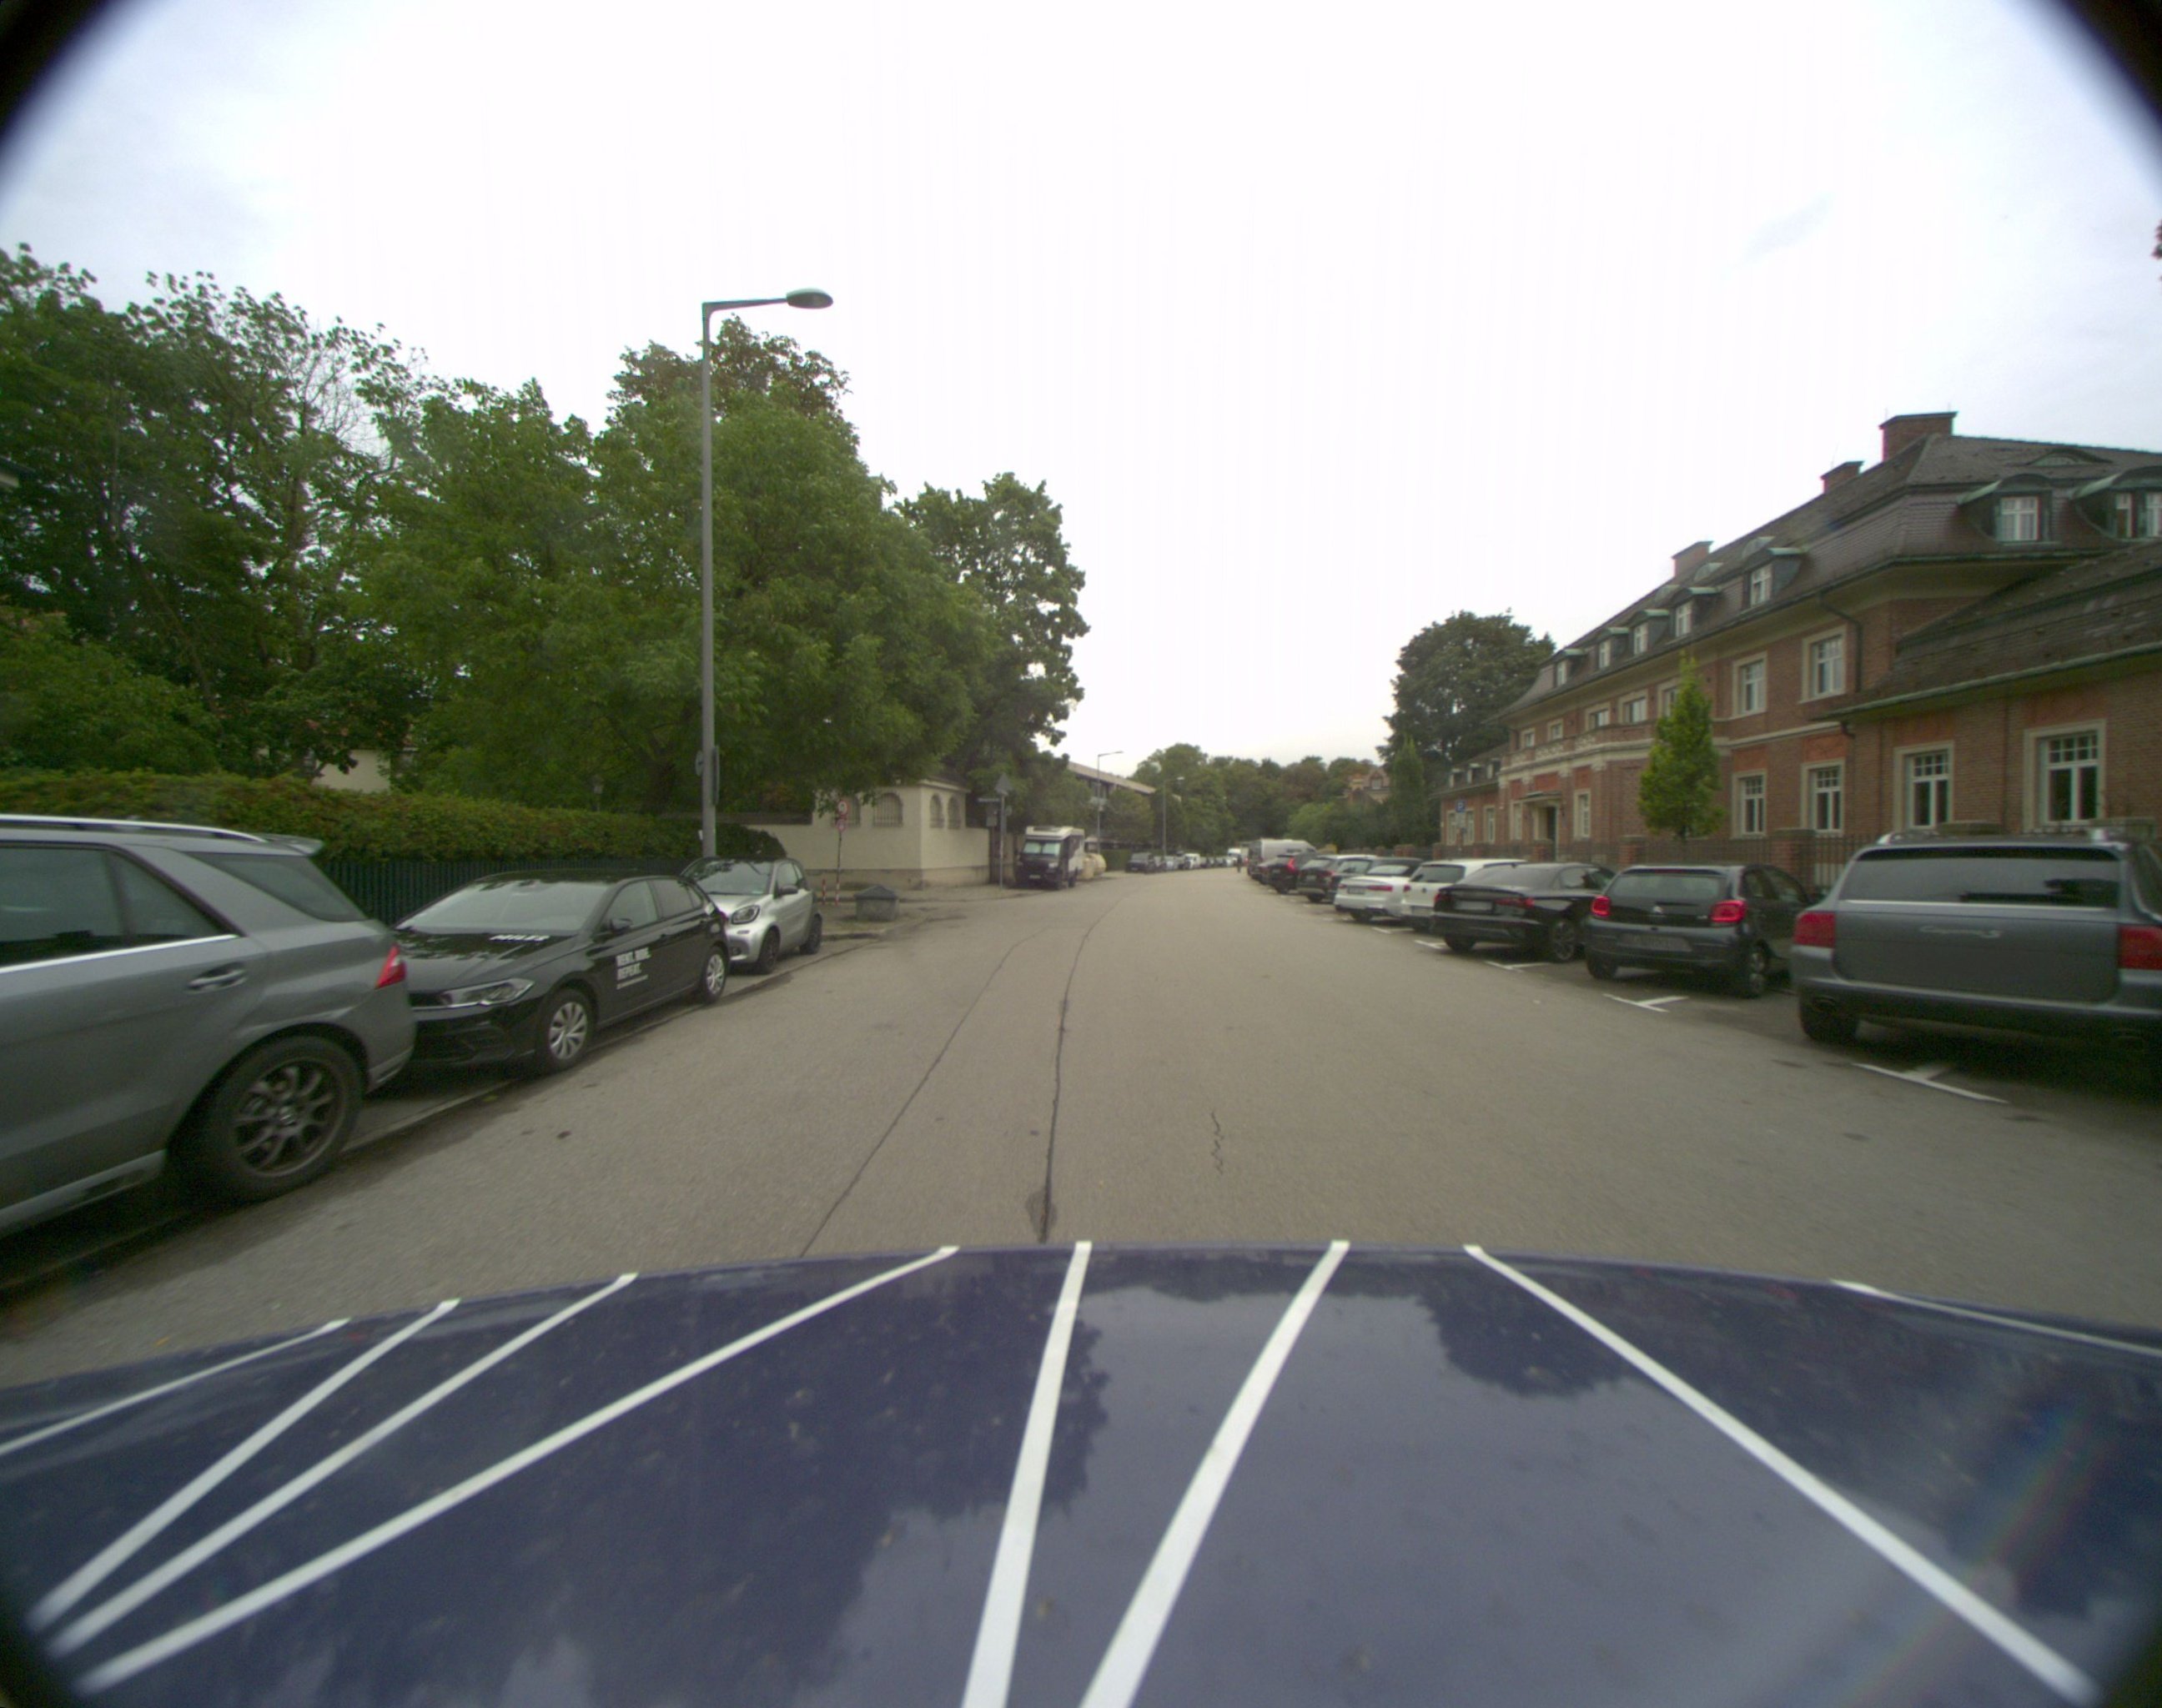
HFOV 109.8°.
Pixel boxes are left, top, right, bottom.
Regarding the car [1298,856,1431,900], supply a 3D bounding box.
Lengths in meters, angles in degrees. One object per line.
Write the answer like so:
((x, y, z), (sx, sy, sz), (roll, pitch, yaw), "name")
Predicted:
((10.338, 0.875, 27.710), (4.334, 1.463, 1.817), (2, 0, -18), "car")

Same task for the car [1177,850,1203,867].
((12.598, 0.490, 87.442), (1.824, 1.849, 4.906), (-1, -1, 22), "car")

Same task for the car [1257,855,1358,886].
((11.088, 0.813, 37.257), (4.531, 1.442, 1.817), (1, 1, -20), "car")

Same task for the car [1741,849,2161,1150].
((7.575, 0.816, 6.164), (4.420, 1.689, 2.131), (0, 1, -32), "car")

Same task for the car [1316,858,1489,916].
((8.751, 0.845, 20.660), (4.400, 1.442, 1.654), (0, 0, -21), "car")

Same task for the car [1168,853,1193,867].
((10.857, 0.671, 82.585), (1.749, 1.471, 4.605), (-1, 0, 20), "car")

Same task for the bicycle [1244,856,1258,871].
((15.119, 0.846, 67.550), (0.707, 1.298, 2.122), (0, 0, 28), "bicycle")

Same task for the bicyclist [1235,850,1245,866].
((14.208, 0.353, 67.899), (0.697, 1.344, 0.932), (0, 1, 27), "bicyclist")

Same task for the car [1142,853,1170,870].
((7.255, 0.698, 72.879), (1.750, 1.530, 4.576), (0, 0, 18), "car")

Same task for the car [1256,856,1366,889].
((10.488, 0.830, 34.653), (4.531, 1.410, 1.924), (1, 0, -20), "car")

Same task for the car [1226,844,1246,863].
((23.429, -0.046, 115.021), (2.081, 2.671, 6.097), (2, 0, 19), "car")

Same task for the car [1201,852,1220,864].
((16.712, 0.541, 97.900), (1.728, 1.520, 4.211), (2, 0, 20), "car")

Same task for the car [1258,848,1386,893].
((9.519, 0.649, 30.097), (4.531, 1.655, 1.984), (1, 1, -20), "car")

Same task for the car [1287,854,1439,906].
((9.164, 0.781, 24.713), (4.532, 1.558, 1.886), (0, 1, -22), "car")

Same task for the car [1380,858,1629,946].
((8.403, 0.919, 15.056), (4.523, 1.501, 1.928), (2, 0, -24), "car")

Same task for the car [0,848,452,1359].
((-4.650, 0.854, 2.037), (1.999, 1.701, 4.883), (1, 0, -2), "car")

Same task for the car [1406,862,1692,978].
((7.384, 0.889, 11.919), (4.419, 1.431, 1.961), (0, 1, -30), "car")

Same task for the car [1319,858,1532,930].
((7.893, 0.835, 17.389), (4.522, 1.442, 1.893), (0, 1, -24), "car")

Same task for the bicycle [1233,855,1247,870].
((14.227, 0.745, 68.013), (0.707, 1.298, 2.122), (0, 0, 27), "bicycle")

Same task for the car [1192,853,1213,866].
((14.884, 0.656, 92.874), (1.749, 1.455, 4.249), (1, 0, 20), "car")

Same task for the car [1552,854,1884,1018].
((8.194, 0.833, 9.689), (4.420, 1.620, 1.960), (0, 1, -32), "car")

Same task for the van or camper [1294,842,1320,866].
((29.171, -0.063, 97.997), (2.457, 2.924, 7.223), (2, 1, 22), "van or camper")

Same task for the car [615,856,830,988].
((-4.896, 0.850, 10.820), (1.744, 1.527, 2.945), (1, 1, -2), "car")

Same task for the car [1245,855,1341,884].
((11.161, 0.807, 40.108), (4.530, 1.442, 1.974), (1, 0, -17), "car")

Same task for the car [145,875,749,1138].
((-4.724, 0.987, 6.682), (1.882, 1.419, 4.221), (1, 0, -2), "car")

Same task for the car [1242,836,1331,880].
((12.428, 0.254, 46.056), (4.639, 2.548, 2.231), (1, 0, -13), "car")

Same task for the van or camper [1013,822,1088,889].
((-1.323, 0.056, 36.940), (2.276, 2.889, 7.281), (0, 0, 9), "van or camper")

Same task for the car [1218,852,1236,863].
((20.892, 0.524, 108.800), (1.872, 1.560, 5.009), (2, 0, 17), "car")

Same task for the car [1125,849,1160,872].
((5.524, 0.563, 67.784), (1.990, 1.860, 5.084), (-1, 1, 18), "car")

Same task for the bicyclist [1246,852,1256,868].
((15.103, 0.546, 67.512), (0.697, 1.389, 0.932), (0, 1, 29), "bicyclist")

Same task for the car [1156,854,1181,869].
((9.060, 0.739, 78.323), (1.749, 1.472, 3.894), (0, 0, 20), "car")
